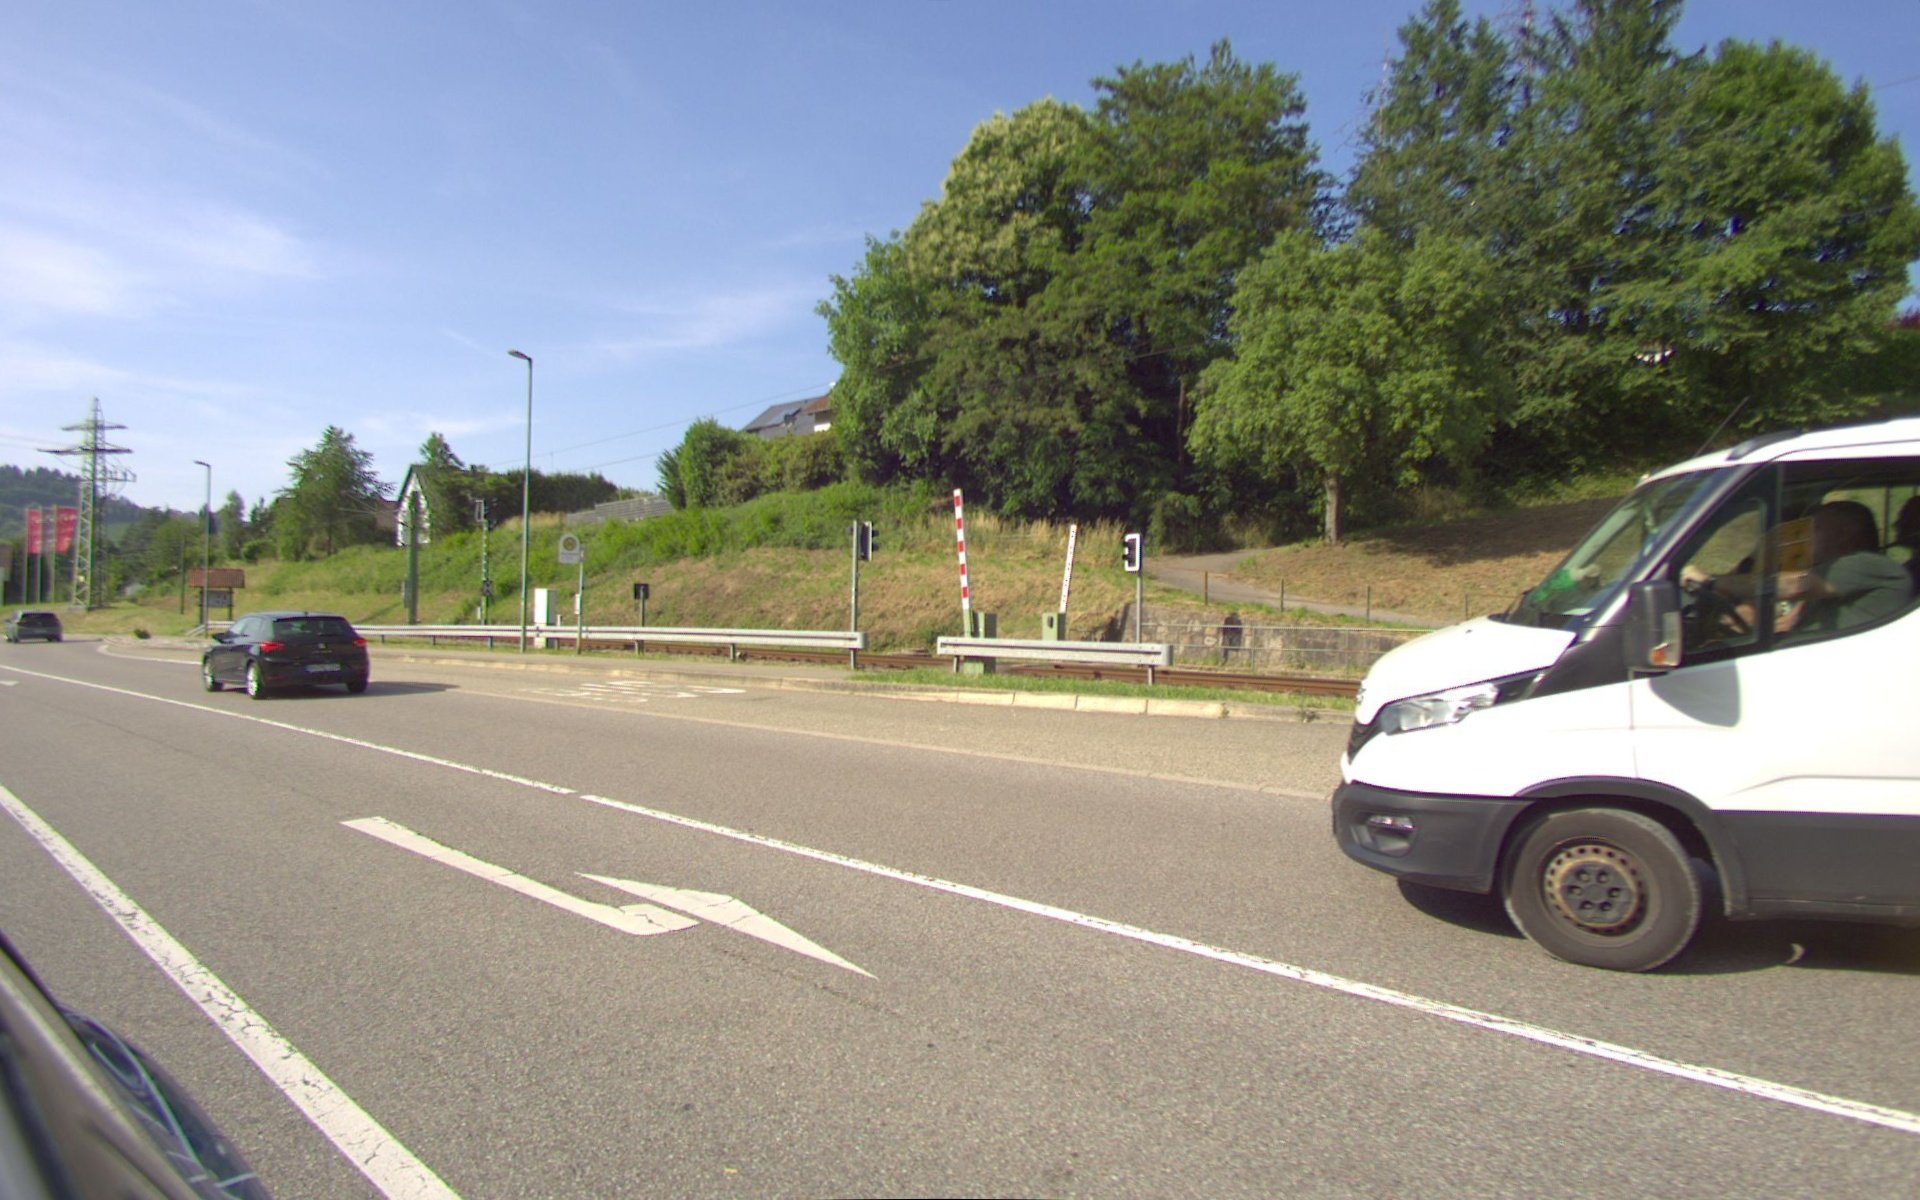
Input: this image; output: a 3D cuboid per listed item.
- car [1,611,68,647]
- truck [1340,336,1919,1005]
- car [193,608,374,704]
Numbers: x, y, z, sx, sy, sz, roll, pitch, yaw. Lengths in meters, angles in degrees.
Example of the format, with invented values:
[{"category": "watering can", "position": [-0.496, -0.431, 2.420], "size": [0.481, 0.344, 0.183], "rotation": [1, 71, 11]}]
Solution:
[{"category": "car", "position": [-44.087, 1.335, 48.175], "size": [3.999, 1.541, 1.972], "rotation": [0, 1, 42]}, {"category": "truck", "position": [4.889, 0.227, 4.122], "size": [6.236, 2.283, 2.437], "rotation": [-1, 0, 22]}, {"category": "car", "position": [-12.055, 0.908, 17.943], "size": [3.997, 1.497, 1.669], "rotation": [-1, 0, 41]}]
